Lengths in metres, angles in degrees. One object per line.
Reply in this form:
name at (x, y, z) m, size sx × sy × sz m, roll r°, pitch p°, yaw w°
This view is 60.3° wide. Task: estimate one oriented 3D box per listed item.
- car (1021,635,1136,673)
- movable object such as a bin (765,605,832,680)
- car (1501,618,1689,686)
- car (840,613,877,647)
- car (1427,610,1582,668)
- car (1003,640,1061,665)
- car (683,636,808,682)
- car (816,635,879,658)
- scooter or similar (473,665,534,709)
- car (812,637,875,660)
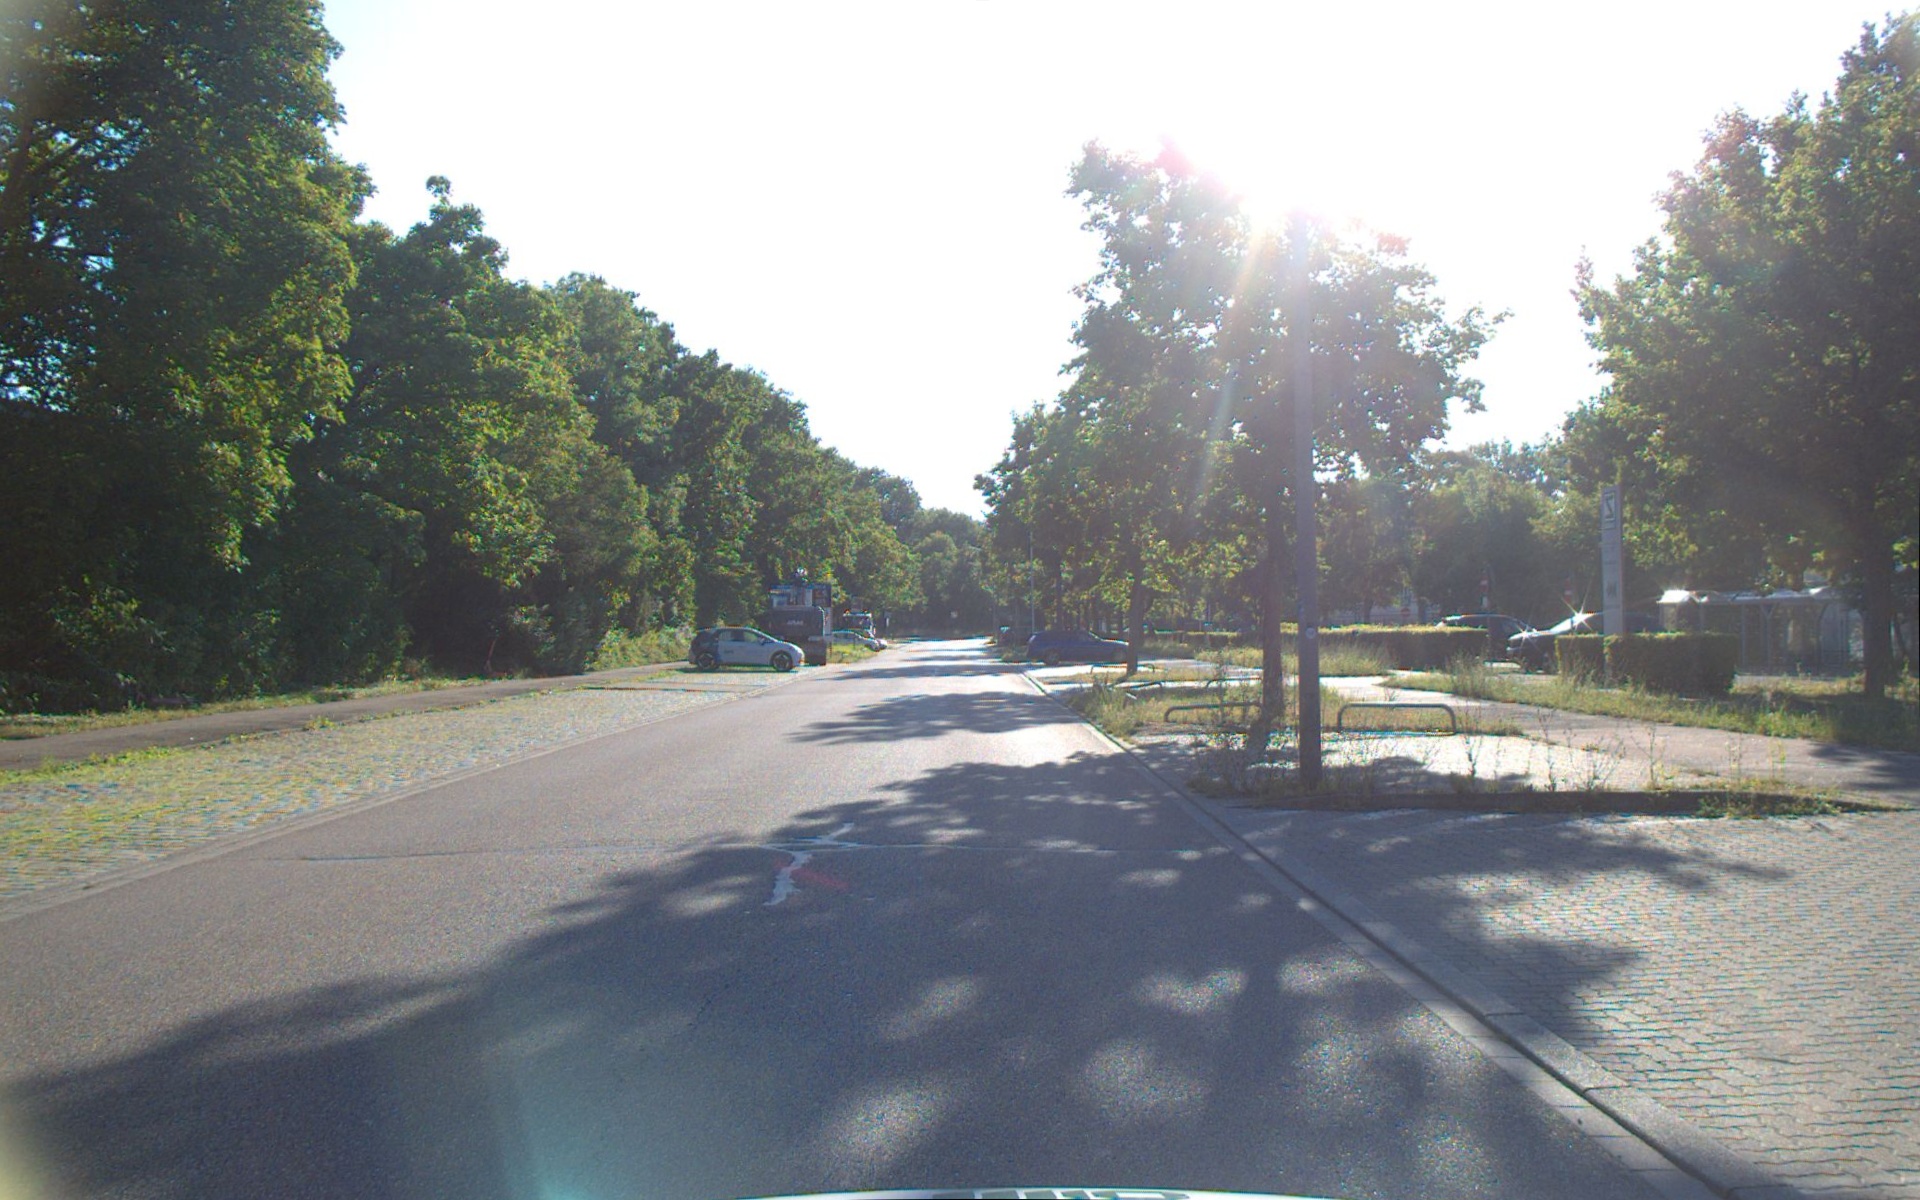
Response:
car at (4.970, 2.277, 69.848) m, size 4.742 × 1.505 × 2.000 m, roll -1°, pitch -2°, yaw 1°
movable object such as a bin at (-7.092, 1.893, 73.135) m, size 2.782 × 3.123 × 4.922 m, roll 1°, pitch -2°, yaw -4°
car at (17.284, 1.414, 45.126) m, size 4.339 × 1.736 × 2.058 m, roll 1°, pitch -2°, yaw -1°
car at (-7.559, 2.263, 122.708) m, size 2.468 × 2.428 × 4.366 m, roll -1°, pitch -2°, yaw -7°
car at (17.264, 1.237, 52.621) m, size 4.268 × 1.736 × 2.000 m, roll -1°, pitch -1°, yaw 1°
car at (5.470, 3.979, 125.614) m, size 4.270 × 1.759 × 1.999 m, roll 1°, pitch -2°, yaw -1°
car at (-7.814, 2.148, 60.422) m, size 4.269 × 1.574 × 2.000 m, roll -1°, pitch -2°, yaw 1°
car at (-7.721, 3.161, 113.326) m, size 4.275 × 1.505 × 1.997 m, roll -1°, pitch -1°, yaw -7°
scooter or similar at (-12.570, 2.387, 45.568) m, size 0.566 × 1.165 × 1.576 m, roll -3°, pitch -3°, yaw 39°
car at (-8.166, 3.364, 115.847) m, size 4.275 × 1.505 × 1.997 m, roll 1°, pitch -2°, yaw -7°
